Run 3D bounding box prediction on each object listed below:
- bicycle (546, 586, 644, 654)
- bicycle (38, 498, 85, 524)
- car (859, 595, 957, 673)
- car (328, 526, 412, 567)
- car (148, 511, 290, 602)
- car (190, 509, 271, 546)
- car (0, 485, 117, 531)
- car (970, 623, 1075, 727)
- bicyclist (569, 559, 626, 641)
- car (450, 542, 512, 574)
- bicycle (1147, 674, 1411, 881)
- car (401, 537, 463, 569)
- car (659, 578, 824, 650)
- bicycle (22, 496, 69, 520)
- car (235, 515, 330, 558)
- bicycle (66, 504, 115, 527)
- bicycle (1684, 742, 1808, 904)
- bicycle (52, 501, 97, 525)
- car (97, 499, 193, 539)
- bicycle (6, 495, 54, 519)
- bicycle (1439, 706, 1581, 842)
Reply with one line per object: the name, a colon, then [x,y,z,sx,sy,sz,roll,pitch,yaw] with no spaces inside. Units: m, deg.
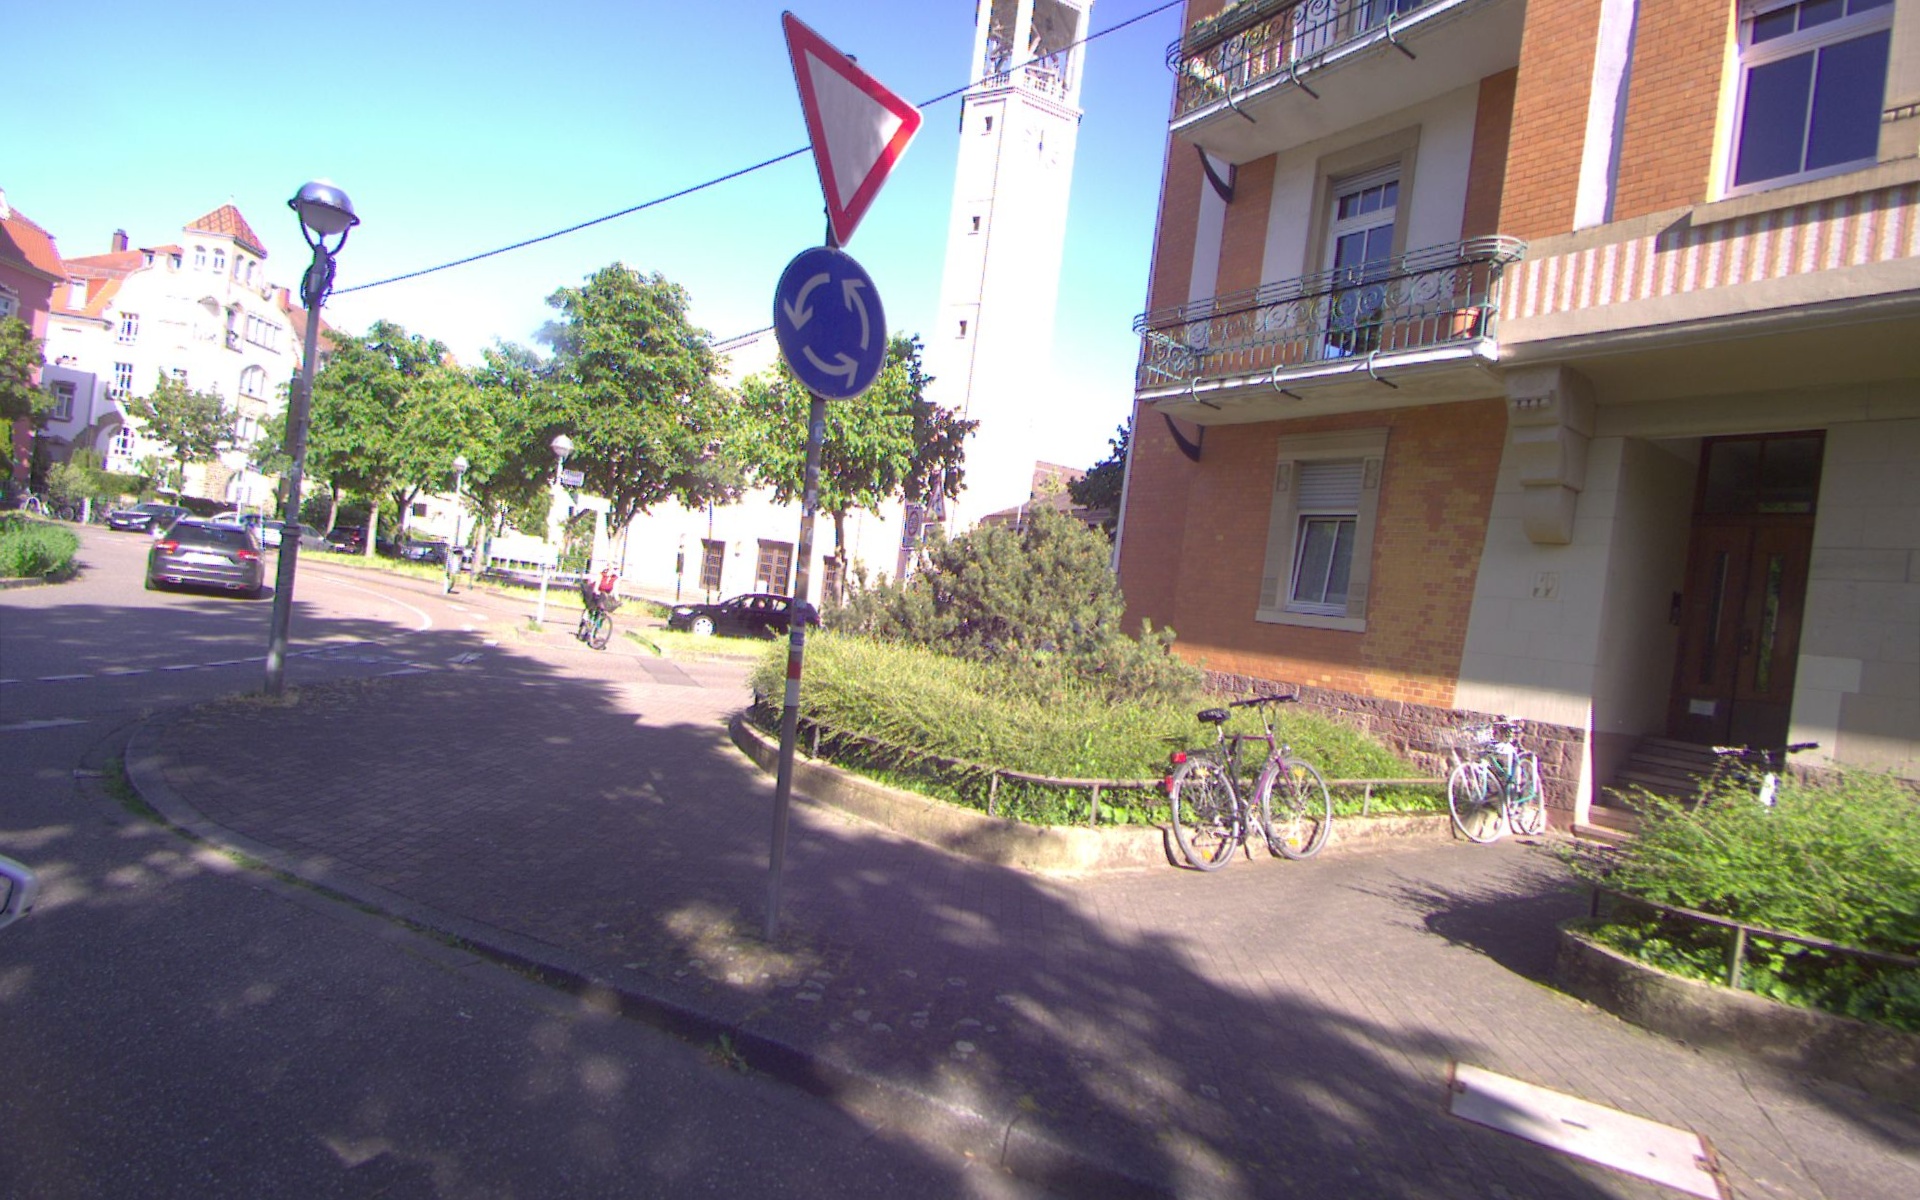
bicycle: [-6.854,0.369,18.876,1.842,1.049,0.508,7,0,26]
bicycle: [-41.182,-4.100,46.122,2.243,0.925,0.479,7,0,18]
car: [-1.128,0.787,23.471,1.542,1.490,3.516,7,0,7]
car: [-27.081,-2.410,46.307,1.532,1.473,3.737,7,0,-1]
car: [-15.119,-0.916,20.746,1.701,1.501,4.113,7,0,-29]
car: [-38.320,-3.782,52.934,1.641,1.506,3.475,7,0,-2]
car: [-37.678,-3.812,42.168,1.729,1.385,3.641,7,0,-5]
car: [1.601,1.719,24.251,1.962,2.038,4.002,7,0,8]
bicyclist: [-6.791,-0.002,18.870,0.729,1.434,0.510,7,1,30]
car: [-28.036,-2.456,59.038,1.763,1.473,3.783,7,0,-1]
bicycle: [2.195,1.170,6.709,2.212,1.173,0.384,8,0,-38]
car: [-30.805,-2.739,58.818,1.630,1.454,3.457,7,0,1]
car: [-5.913,0.391,27.299,3.954,1.404,1.729,8,0,-28]
bicycle: [-41.411,-4.145,45.538,2.243,0.810,0.479,7,0,18]
car: [-30.368,-2.802,45.226,1.532,1.473,3.976,7,0,-1]
bicycle: [-41.385,-4.015,47.871,2.243,0.795,0.626,7,0,18]
bicycle: [5.867,1.630,7.479,1.551,1.074,0.268,8,0,-38]
bicycle: [-41.542,-4.081,47.193,2.243,0.833,0.479,7,0,18]
car: [-38.216,-3.775,47.272,1.730,1.385,3.639,7,0,-8]
bicycle: [-41.464,-4.151,44.865,1.990,0.810,0.479,7,0,13]
bicycle: [4.948,1.551,8.997,1.670,1.074,0.384,8,0,-38]
